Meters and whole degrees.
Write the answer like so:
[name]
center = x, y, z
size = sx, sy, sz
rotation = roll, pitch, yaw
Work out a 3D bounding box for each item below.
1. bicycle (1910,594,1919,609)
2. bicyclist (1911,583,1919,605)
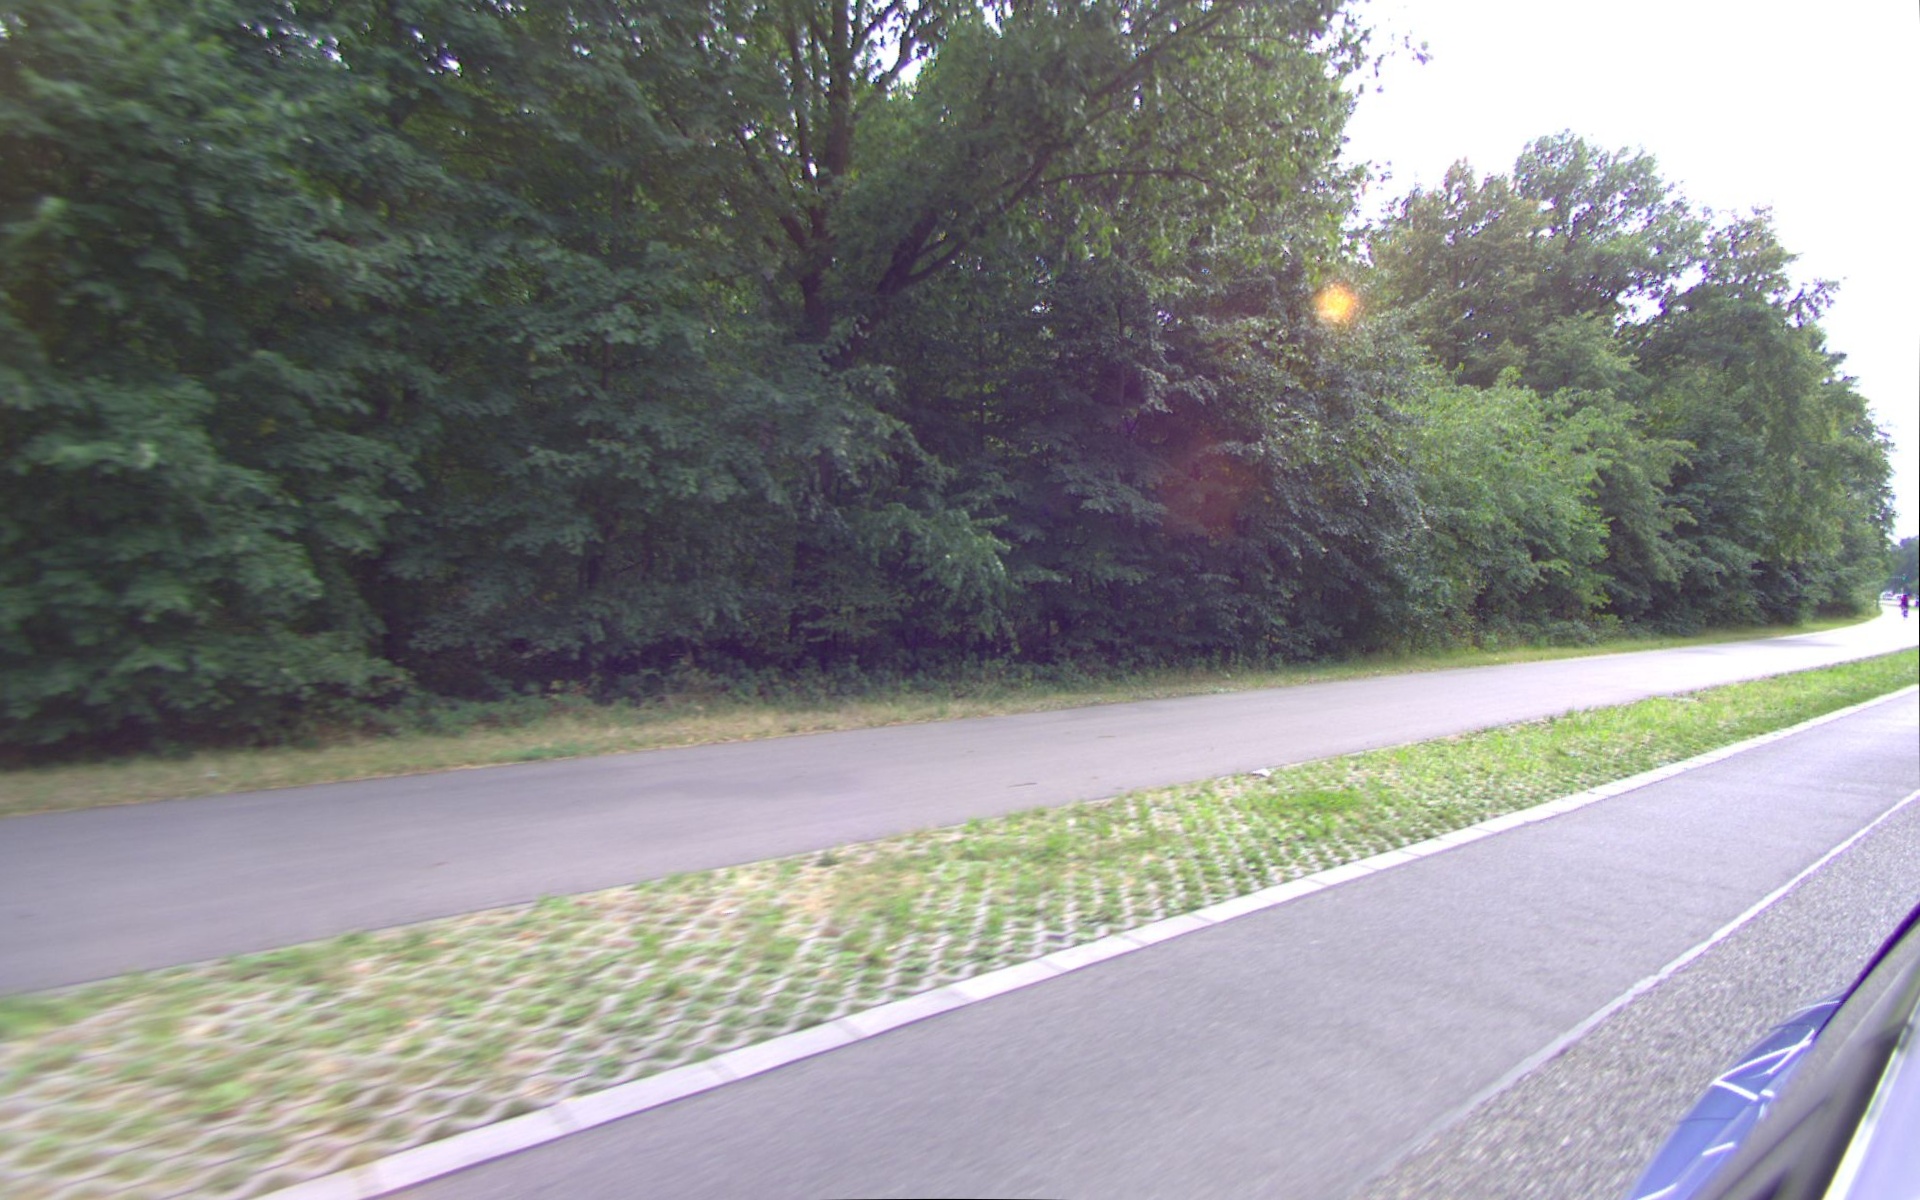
[bicycle]
center = 62.567, 0.121, 66.153
size = 0.565, 0.923, 1.858
rotation = 5, 3, 41
[bicyclist]
center = 62.589, -0.416, 66.174
size = 0.519, 1.433, 1.169
rotation = -1, 0, 41
